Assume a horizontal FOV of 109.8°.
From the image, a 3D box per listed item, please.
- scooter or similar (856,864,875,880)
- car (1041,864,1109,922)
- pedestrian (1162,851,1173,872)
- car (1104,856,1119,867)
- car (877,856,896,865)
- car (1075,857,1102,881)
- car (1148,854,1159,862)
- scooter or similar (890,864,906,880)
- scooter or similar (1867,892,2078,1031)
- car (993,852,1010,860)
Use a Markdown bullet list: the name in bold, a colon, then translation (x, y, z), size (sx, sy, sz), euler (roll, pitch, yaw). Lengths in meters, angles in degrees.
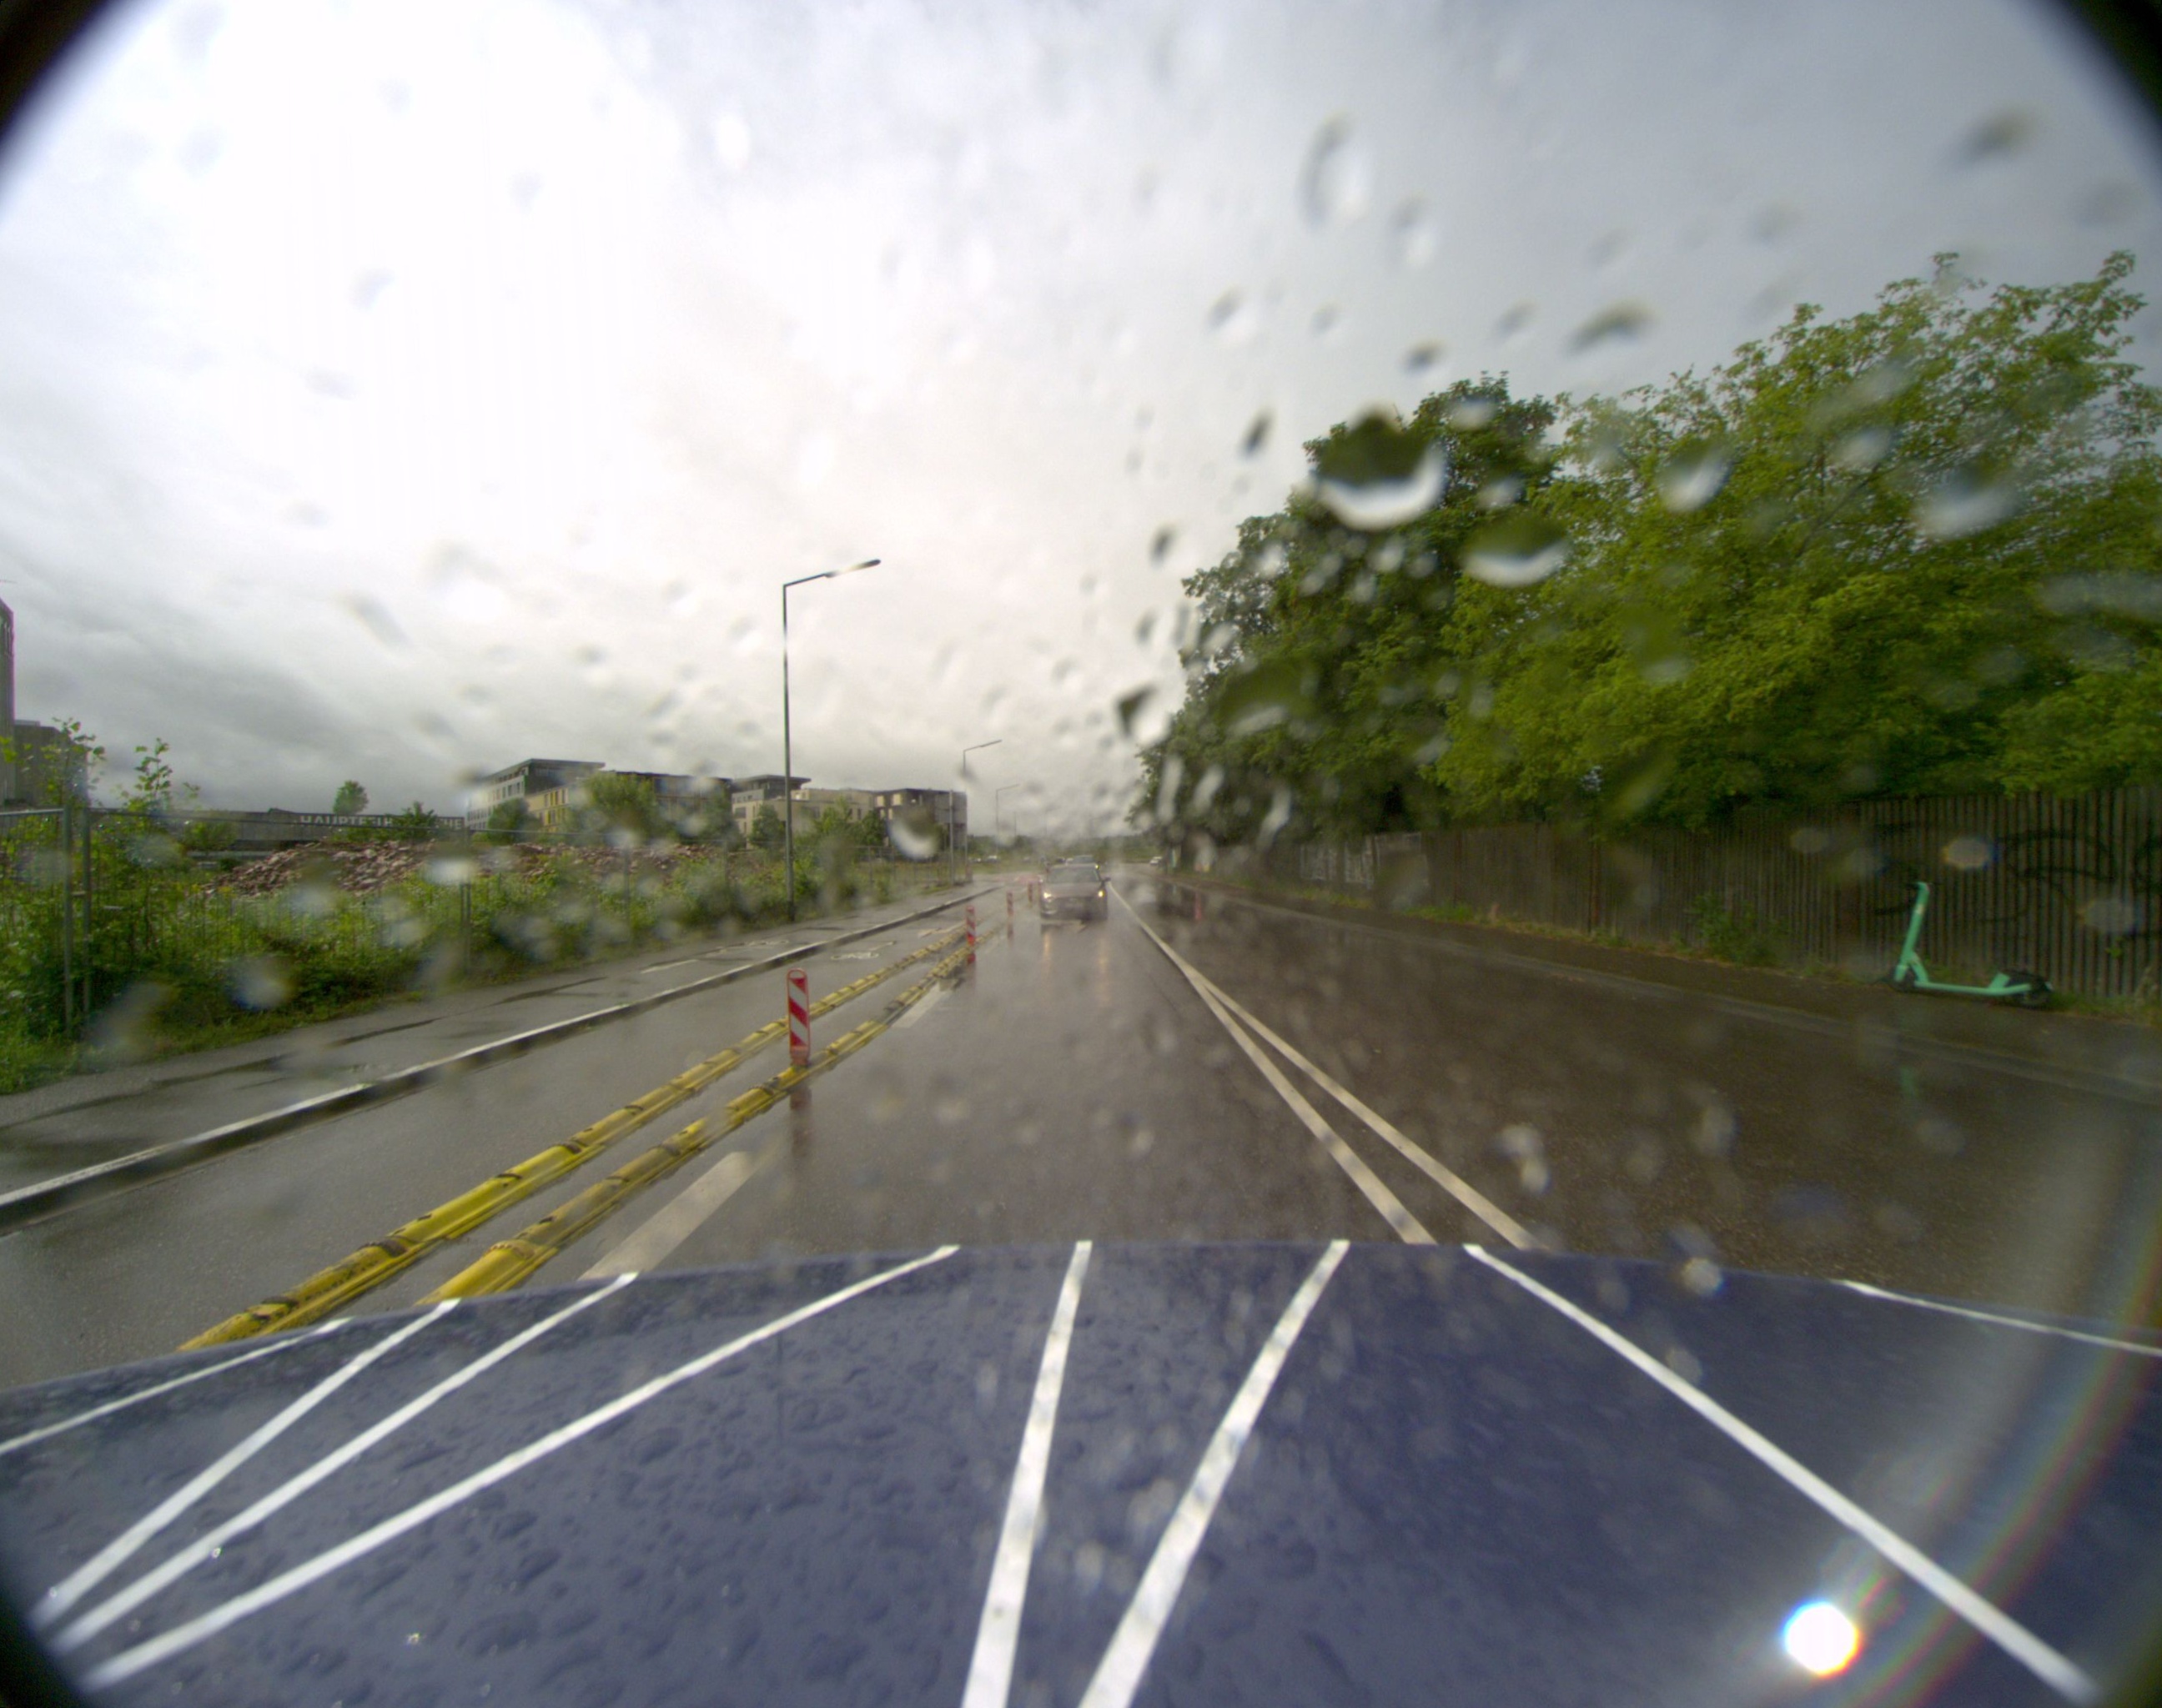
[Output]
- **scooter or similar**: translation (-15.927, 1.352, 56.139), size (1.191, 1.143, 0.748), euler (0, 1, 33)
- **car**: translation (-0.216, 1.020, 21.353), size (1.724, 1.423, 3.817), euler (-1, 0, -2)
- **pedestrian**: translation (7.057, 0.615, 61.919), size (0.841, 1.759, 0.644), euler (0, 1, 0)
- **car**: translation (4.847, 1.138, 120.339), size (1.795, 1.623, 3.621), euler (-1, 0, 11)
- **car**: translation (-36.470, 1.188, 142.552), size (1.644, 1.573, 3.674), euler (-1, 0, 24)
- **car**: translation (0.476, 0.988, 52.326), size (1.734, 1.539, 3.770), euler (-1, 0, -1)
- **car**: translation (14.448, 0.765, 150.926), size (1.795, 1.623, 3.821), euler (-1, 0, 11)
- **scooter or similar**: translation (-13.268, 1.306, 55.096), size (1.191, 1.143, 0.484), euler (0, 1, 34)
- **scooter or similar**: translation (8.506, 0.979, 7.314), size (0.564, 1.156, 1.207), euler (-1, 0, -7)
- **car**: translation (-20.349, 0.615, 195.237), size (4.008, 2.002, 1.994), euler (-1, 0, -43)
